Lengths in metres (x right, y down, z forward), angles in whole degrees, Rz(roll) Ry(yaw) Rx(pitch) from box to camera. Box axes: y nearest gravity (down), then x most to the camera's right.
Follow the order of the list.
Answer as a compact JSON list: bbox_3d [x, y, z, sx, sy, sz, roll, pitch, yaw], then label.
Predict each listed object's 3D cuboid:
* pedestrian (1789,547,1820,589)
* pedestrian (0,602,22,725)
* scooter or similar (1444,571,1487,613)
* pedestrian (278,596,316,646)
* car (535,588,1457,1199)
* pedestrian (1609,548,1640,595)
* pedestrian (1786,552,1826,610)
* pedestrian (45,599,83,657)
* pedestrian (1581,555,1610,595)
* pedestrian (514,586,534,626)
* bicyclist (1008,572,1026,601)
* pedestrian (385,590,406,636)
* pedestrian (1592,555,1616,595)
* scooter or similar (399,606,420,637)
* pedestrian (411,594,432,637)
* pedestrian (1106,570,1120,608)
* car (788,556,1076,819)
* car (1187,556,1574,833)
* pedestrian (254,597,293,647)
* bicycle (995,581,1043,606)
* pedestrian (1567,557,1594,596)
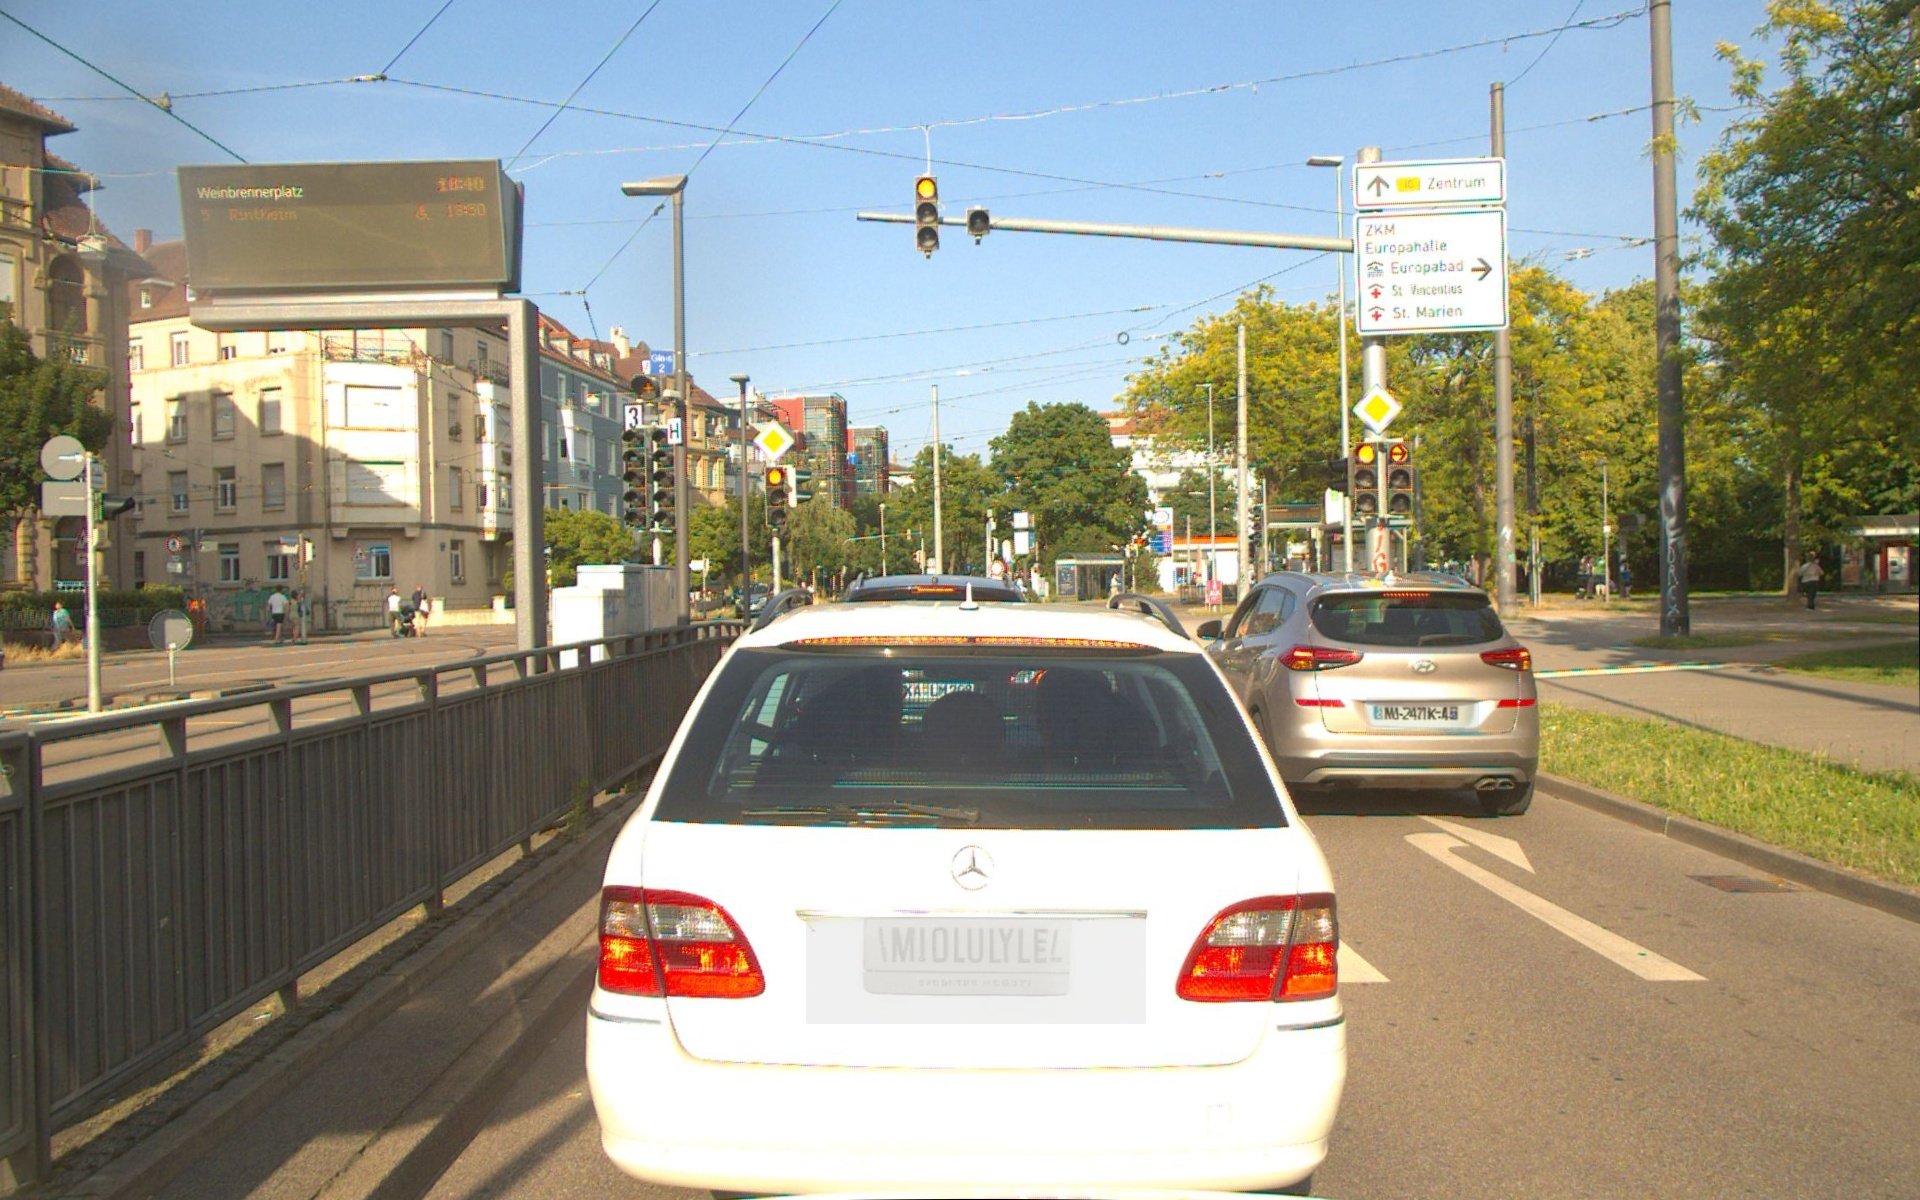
[{"bbox_3d":[33.376,-1.262,65.369,0.818,1.665,0.803,-1,0,5],"label":"pedestrian"},{"bbox_3d":[-13.082,0.849,22.214,0.601,1.627,0.632,-1,0,-7],"label":"pedestrian"},{"bbox_3d":[13.940,-0.216,45.618,0.413,1.136,1.322,-1,0,-20],"label":"scooter or similar"},{"bbox_3d":[-21.330,0.674,53.222,0.812,1.579,0.782,-1,0,21],"label":"pedestrian"},{"bbox_3d":[0.036,0.716,4.986,1.759,1.496,3.647,0,0,-1],"label":"car"},{"bbox_3d":[25.887,-1.109,64.412,0.784,1.816,0.838,-1,0,-5],"label":"pedestrian"},{"bbox_3d":[24.795,-0.565,48.454,0.748,1.665,0.797,-1,0,-40],"label":"pedestrian"},{"bbox_3d":[-24.746,0.754,45.674,0.616,1.568,0.711,-1,0,-1],"label":"pedestrian"},{"bbox_3d":[24.869,-0.979,64.752,0.799,1.513,0.699,-1,0,-12],"label":"pedestrian"},{"bbox_3d":[-19.020,0.257,72.101,0.617,1.689,0.577,-2,0,-43],"label":"pedestrian"},{"bbox_3d":[3.026,-0.740,87.993,0.842,1.507,0.790,-1,0,8],"label":"bicyclist"},{"bbox_3d":[-20.252,0.457,59.382,0.497,1.654,0.608,-1,0,0],"label":"pedestrian"},{"bbox_3d":[24.608,-0.960,63.236,0.797,1.513,0.700,-1,0,24],"label":"pedestrian"},{"bbox_3d":[-20.111,0.782,60.408,0.532,1.098,0.683,1,0,-1],"label":"scooter or similar"},{"bbox_3d":[-19.348,0.538,59.429,0.428,1.527,0.549,-1,0,14],"label":"pedestrian"},{"bbox_3d":[7.808,-0.570,84.185,0.628,1.889,0.552,-1,0,11],"label":"pedestrian"},{"bbox_3d":[-0.200,0.555,12.560,1.846,1.680,3.647,1,0,-1],"label":"car"},{"bbox_3d":[2.886,0.576,12.178,1.846,1.680,3.647,-2,0,-1],"label":"car"},{"bbox_3d":[-22.167,0.721,53.412,0.812,1.579,0.782,-1,0,21],"label":"pedestrian"},{"bbox_3d":[3.154,-0.358,87.981,2.430,1.234,0.807,-1,0,7],"label":"bicycle"},{"bbox_3d":[24.061,-0.914,64.132,0.809,1.513,0.690,-2,0,-42],"label":"pedestrian"}]
